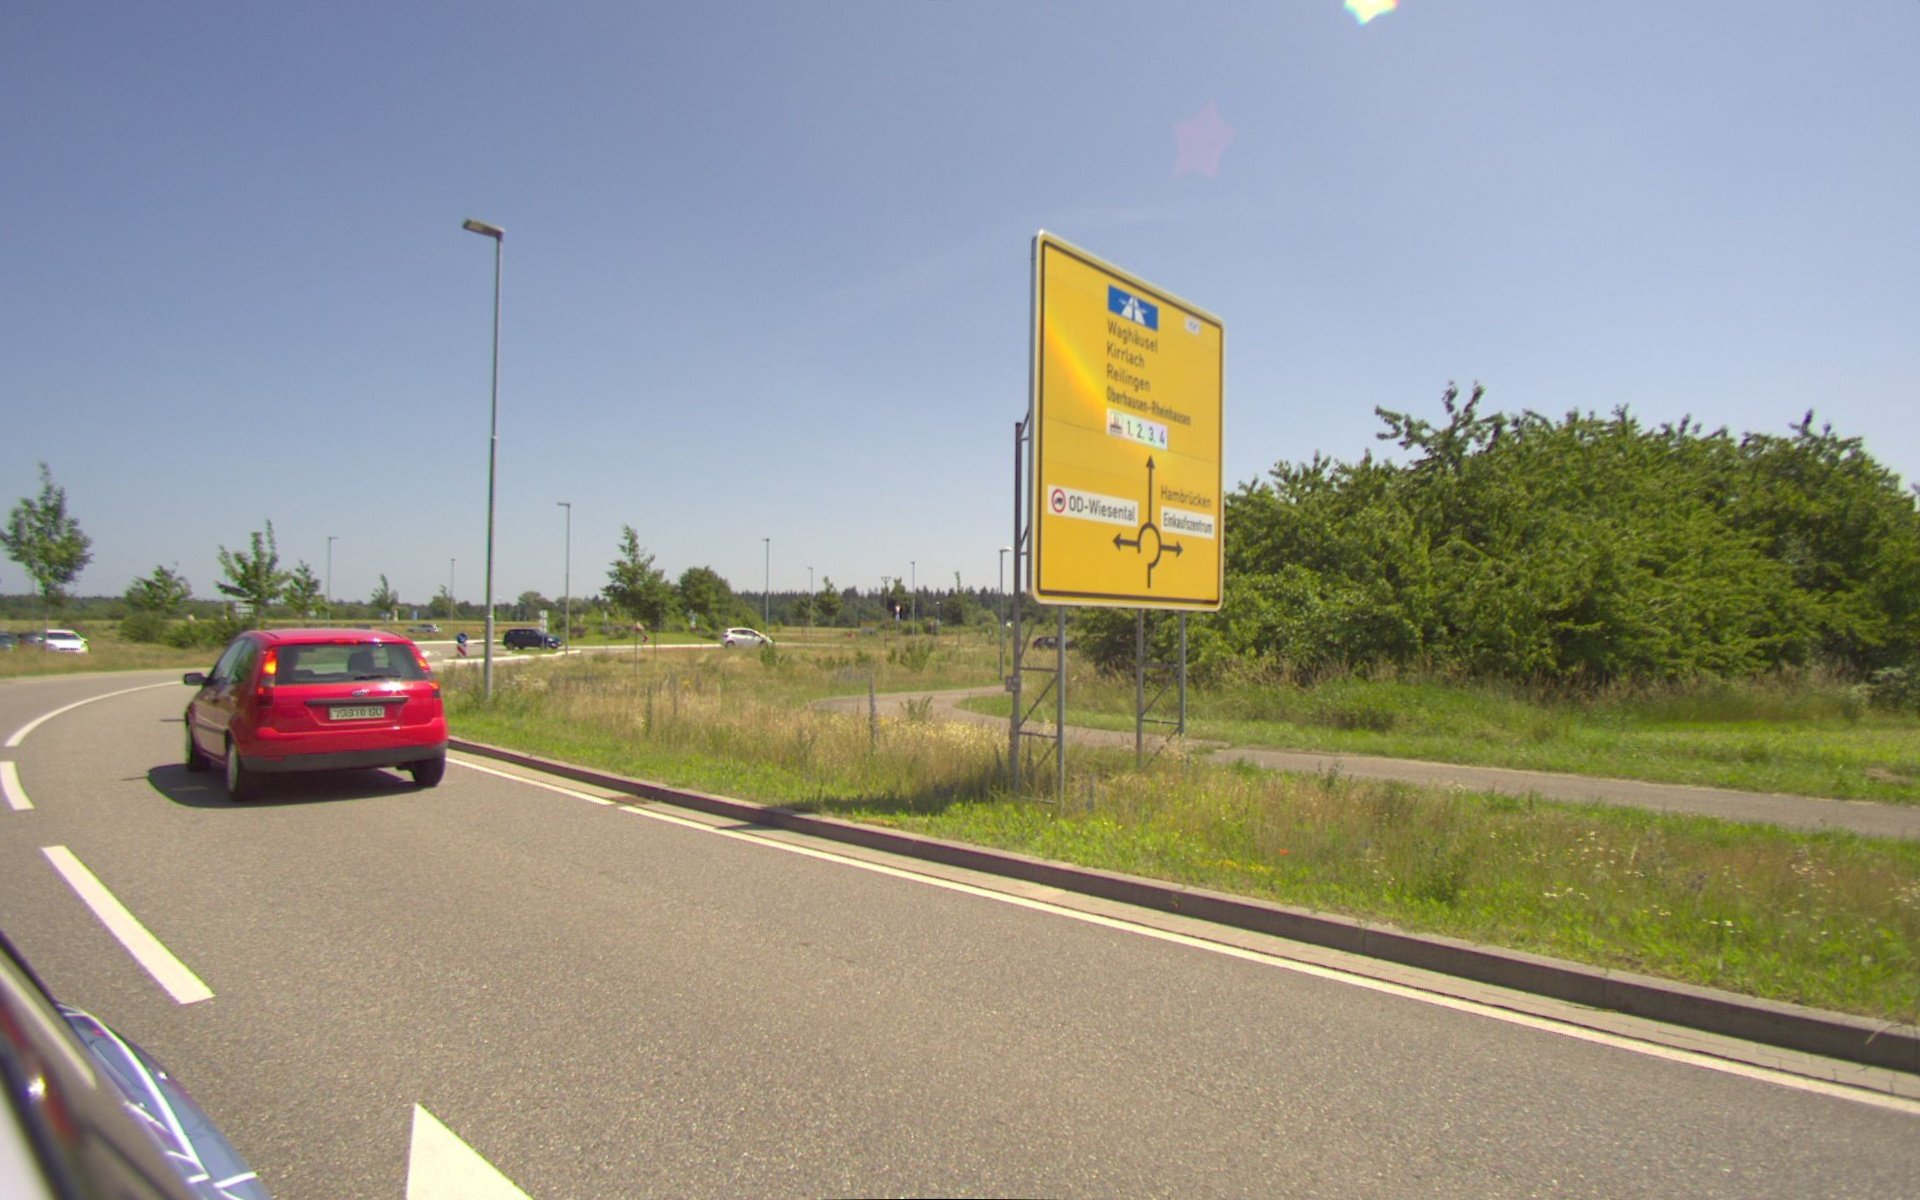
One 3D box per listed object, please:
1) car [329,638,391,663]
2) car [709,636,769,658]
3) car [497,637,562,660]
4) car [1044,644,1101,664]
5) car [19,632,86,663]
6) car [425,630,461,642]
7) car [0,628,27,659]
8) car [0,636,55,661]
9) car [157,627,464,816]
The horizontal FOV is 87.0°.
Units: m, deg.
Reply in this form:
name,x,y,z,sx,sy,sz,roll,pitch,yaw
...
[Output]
name,x,y,z,sx,sy,sz,roll,pitch,yaw
car,-48.661,4.068,82.112,4.486,1.836,1.857,0,-1,20
car,-17.263,3.668,79.030,4.443,1.573,1.875,1,-1,-16
car,-32.079,3.590,75.442,4.102,1.573,1.718,1,-1,8
car,8.955,4.283,80.757,4.468,1.445,1.865,1,0,8
car,-45.097,2.352,50.251,3.994,1.439,1.725,-1,-3,37
car,-68.297,4.792,133.628,3.969,1.497,1.987,0,-3,20
car,-46.196,2.110,48.390,3.962,1.454,1.750,-3,-4,39
car,-52.513,2.692,56.664,3.988,1.321,1.728,-1,-3,33
car,-6.314,1.014,9.673,3.738,1.444,1.636,-2,-5,45
